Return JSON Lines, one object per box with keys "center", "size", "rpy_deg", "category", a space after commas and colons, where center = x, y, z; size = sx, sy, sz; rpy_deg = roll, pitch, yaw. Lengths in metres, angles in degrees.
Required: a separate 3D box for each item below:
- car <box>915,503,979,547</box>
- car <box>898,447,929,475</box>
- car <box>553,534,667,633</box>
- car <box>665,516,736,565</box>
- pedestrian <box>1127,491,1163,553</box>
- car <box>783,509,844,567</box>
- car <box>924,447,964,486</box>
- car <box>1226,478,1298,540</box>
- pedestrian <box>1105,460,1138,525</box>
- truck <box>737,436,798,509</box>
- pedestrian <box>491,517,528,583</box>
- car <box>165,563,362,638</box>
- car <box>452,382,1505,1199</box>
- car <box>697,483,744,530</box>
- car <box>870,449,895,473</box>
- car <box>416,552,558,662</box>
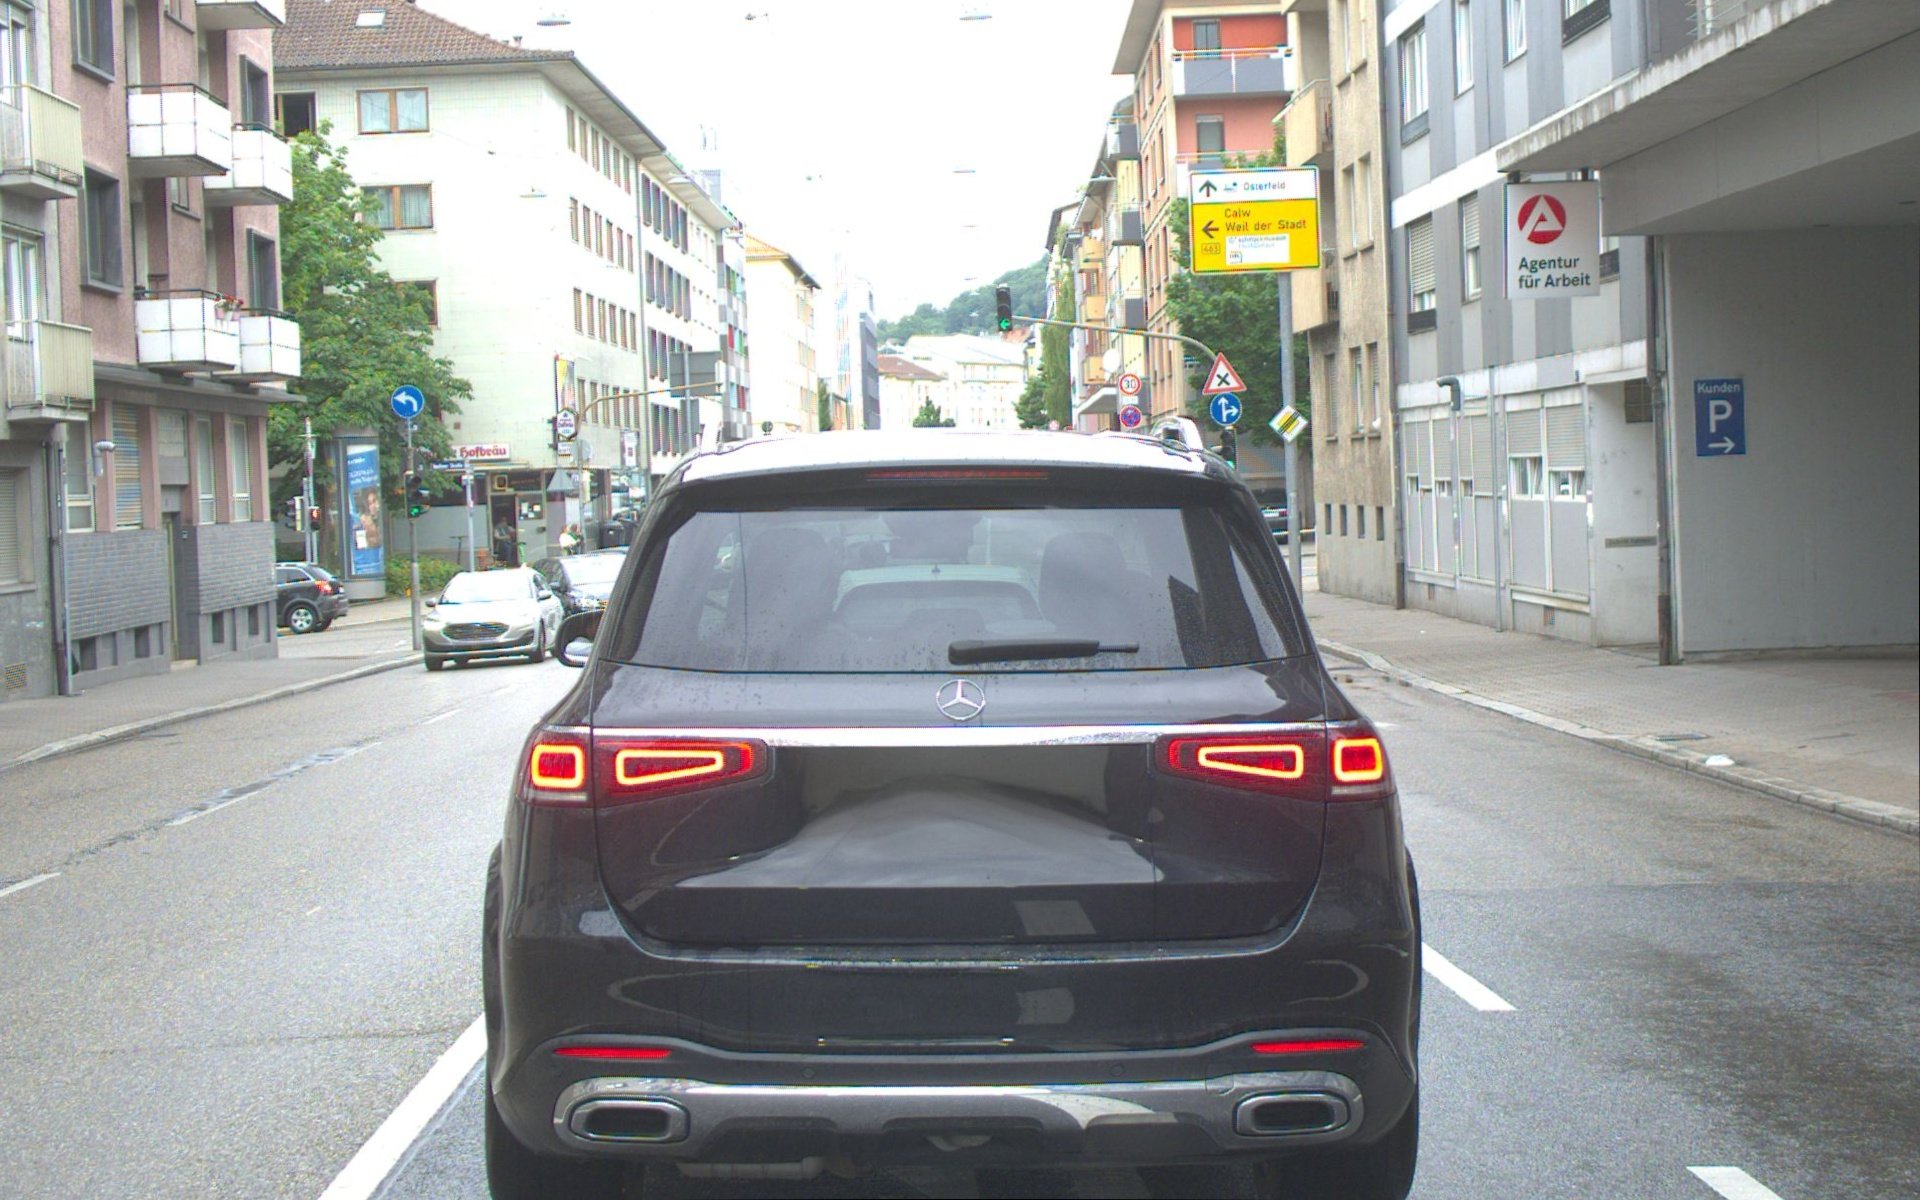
{"center": [-0.454, -2.497, 115.112], "size": [1.993, 1.347, 4.000], "rpy_deg": [-3, 1, -1], "category": "car"}
{"center": [-2.893, -8.607, 212.863], "size": [1.618, 1.534, 4.219], "rpy_deg": [-4, 4, -3], "category": "car"}
{"center": [-6.544, -0.346, 64.012], "size": [1.772, 1.640, 4.413], "rpy_deg": [-4, 2, -9], "category": "car"}
{"center": [-7.458, -1.698, 99.107], "size": [1.885, 1.260, 4.218], "rpy_deg": [-4, 1, -3], "category": "car"}
{"center": [5.483, -2.315, 101.819], "size": [0.923, 1.798, 0.706], "rpy_deg": [-2, 1, -2], "category": "pedestrian"}
{"center": [-4.271, -1.774, 99.907], "size": [1.618, 1.534, 4.218], "rpy_deg": [-4, 1, -3], "category": "car"}
{"center": [-0.806, -6.681, 171.959], "size": [1.723, 1.753, 4.219], "rpy_deg": [-4, 3, -3], "category": "car"}
{"center": [8.183, -2.477, 93.302], "size": [1.671, 1.583, 3.330], "rpy_deg": [-2, 1, 2], "category": "car"}
{"center": [5.145, -3.426, 109.491], "size": [0.923, 2.007, 0.706], "rpy_deg": [-2, 1, -2], "category": "pedestrian"}
{"center": [-8.700, -5.773, 155.697], "size": [2.479, 3.035, 9.922], "rpy_deg": [-4, 2, -3], "category": "truck"}
{"center": [-13.212, -1.465, 100.800], "size": [0.923, 1.895, 0.706], "rpy_deg": [-2, 1, -2], "category": "pedestrian"}
{"center": [-16.799, 0.000, 82.965], "size": [4.205, 1.534, 1.820], "rpy_deg": [-3, 0, 8], "category": "car"}
{"center": [0.008, 0.477, 8.726], "size": [1.985, 1.799, 4.390], "rpy_deg": [1, 0, -1], "category": "car"}
{"center": [-9.075, -3.564, 130.292], "size": [1.618, 1.534, 4.219], "rpy_deg": [-4, 4, -3], "category": "car"}
{"center": [-5.602, -10.068, 248.775], "size": [1.618, 1.534, 4.219], "rpy_deg": [-4, 3, -3], "category": "car"}
{"center": [-7.309, 0.094, 53.480], "size": [1.772, 1.534, 4.359], "rpy_deg": [-4, 1, -4], "category": "car"}
